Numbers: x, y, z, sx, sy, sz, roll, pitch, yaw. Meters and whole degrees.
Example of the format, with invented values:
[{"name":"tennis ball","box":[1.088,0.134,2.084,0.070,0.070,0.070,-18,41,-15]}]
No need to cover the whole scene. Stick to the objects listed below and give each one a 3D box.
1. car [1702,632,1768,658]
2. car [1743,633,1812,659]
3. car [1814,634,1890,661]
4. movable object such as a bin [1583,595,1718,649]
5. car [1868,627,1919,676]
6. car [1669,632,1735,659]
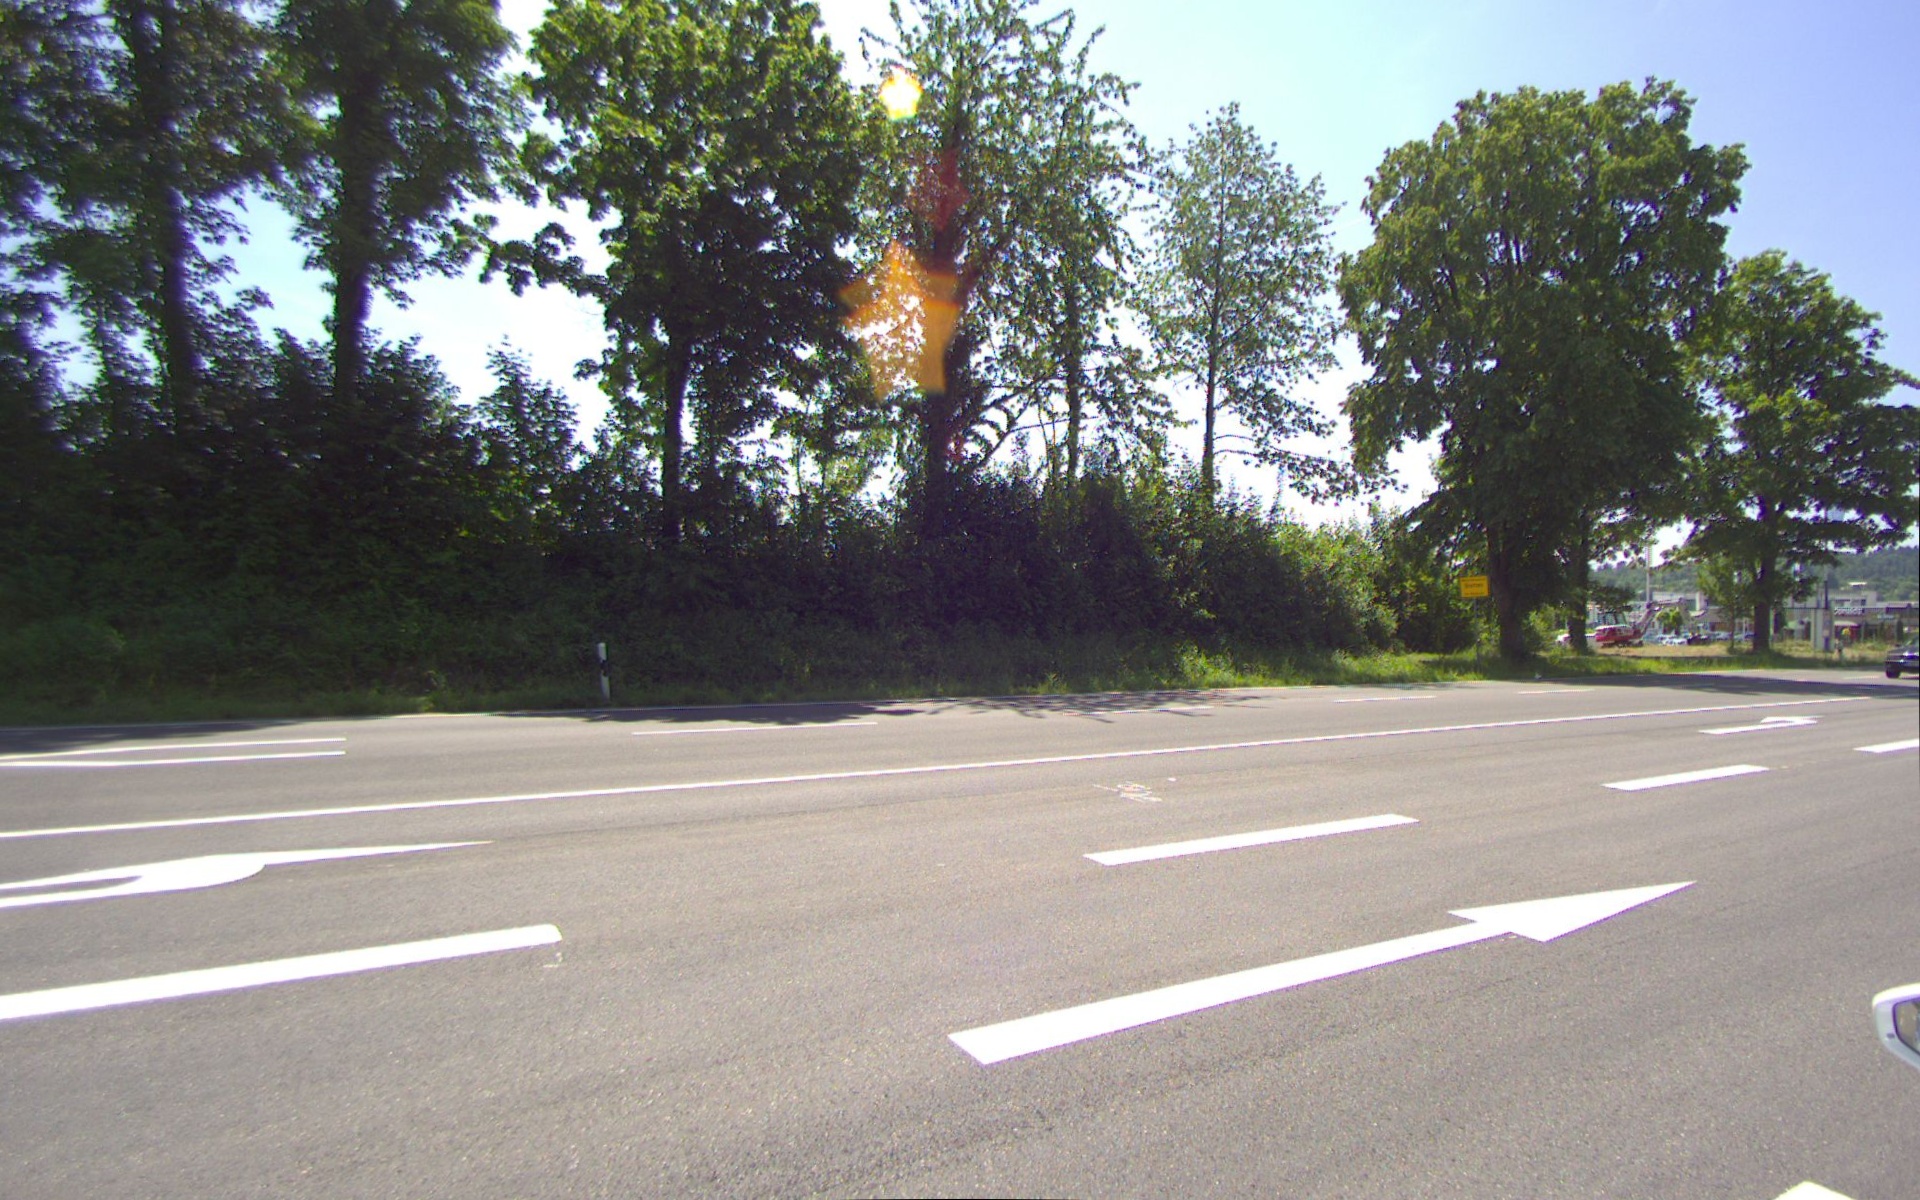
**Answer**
[{"name":"car","box":[53.690,3.113,69.697,1.803,1.639,4.002,1,-1,6]},{"name":"car","box":[56.382,3.152,69.338,1.803,1.639,4.002,1,-1,6]},{"name":"car","box":[59.331,3.135,66.891,1.803,1.639,4.002,1,-1,6]},{"name":"movable object such as a bin","box":[45.219,1.422,65.995,6.654,3.342,3.055,1,-1,10]},{"name":"car","box":[29.899,1.613,30.998,3.956,1.405,1.757,2,0,-32]},{"name":"car","box":[51.497,3.153,69.810,1.959,1.673,4.002,1,-1,6]}]
